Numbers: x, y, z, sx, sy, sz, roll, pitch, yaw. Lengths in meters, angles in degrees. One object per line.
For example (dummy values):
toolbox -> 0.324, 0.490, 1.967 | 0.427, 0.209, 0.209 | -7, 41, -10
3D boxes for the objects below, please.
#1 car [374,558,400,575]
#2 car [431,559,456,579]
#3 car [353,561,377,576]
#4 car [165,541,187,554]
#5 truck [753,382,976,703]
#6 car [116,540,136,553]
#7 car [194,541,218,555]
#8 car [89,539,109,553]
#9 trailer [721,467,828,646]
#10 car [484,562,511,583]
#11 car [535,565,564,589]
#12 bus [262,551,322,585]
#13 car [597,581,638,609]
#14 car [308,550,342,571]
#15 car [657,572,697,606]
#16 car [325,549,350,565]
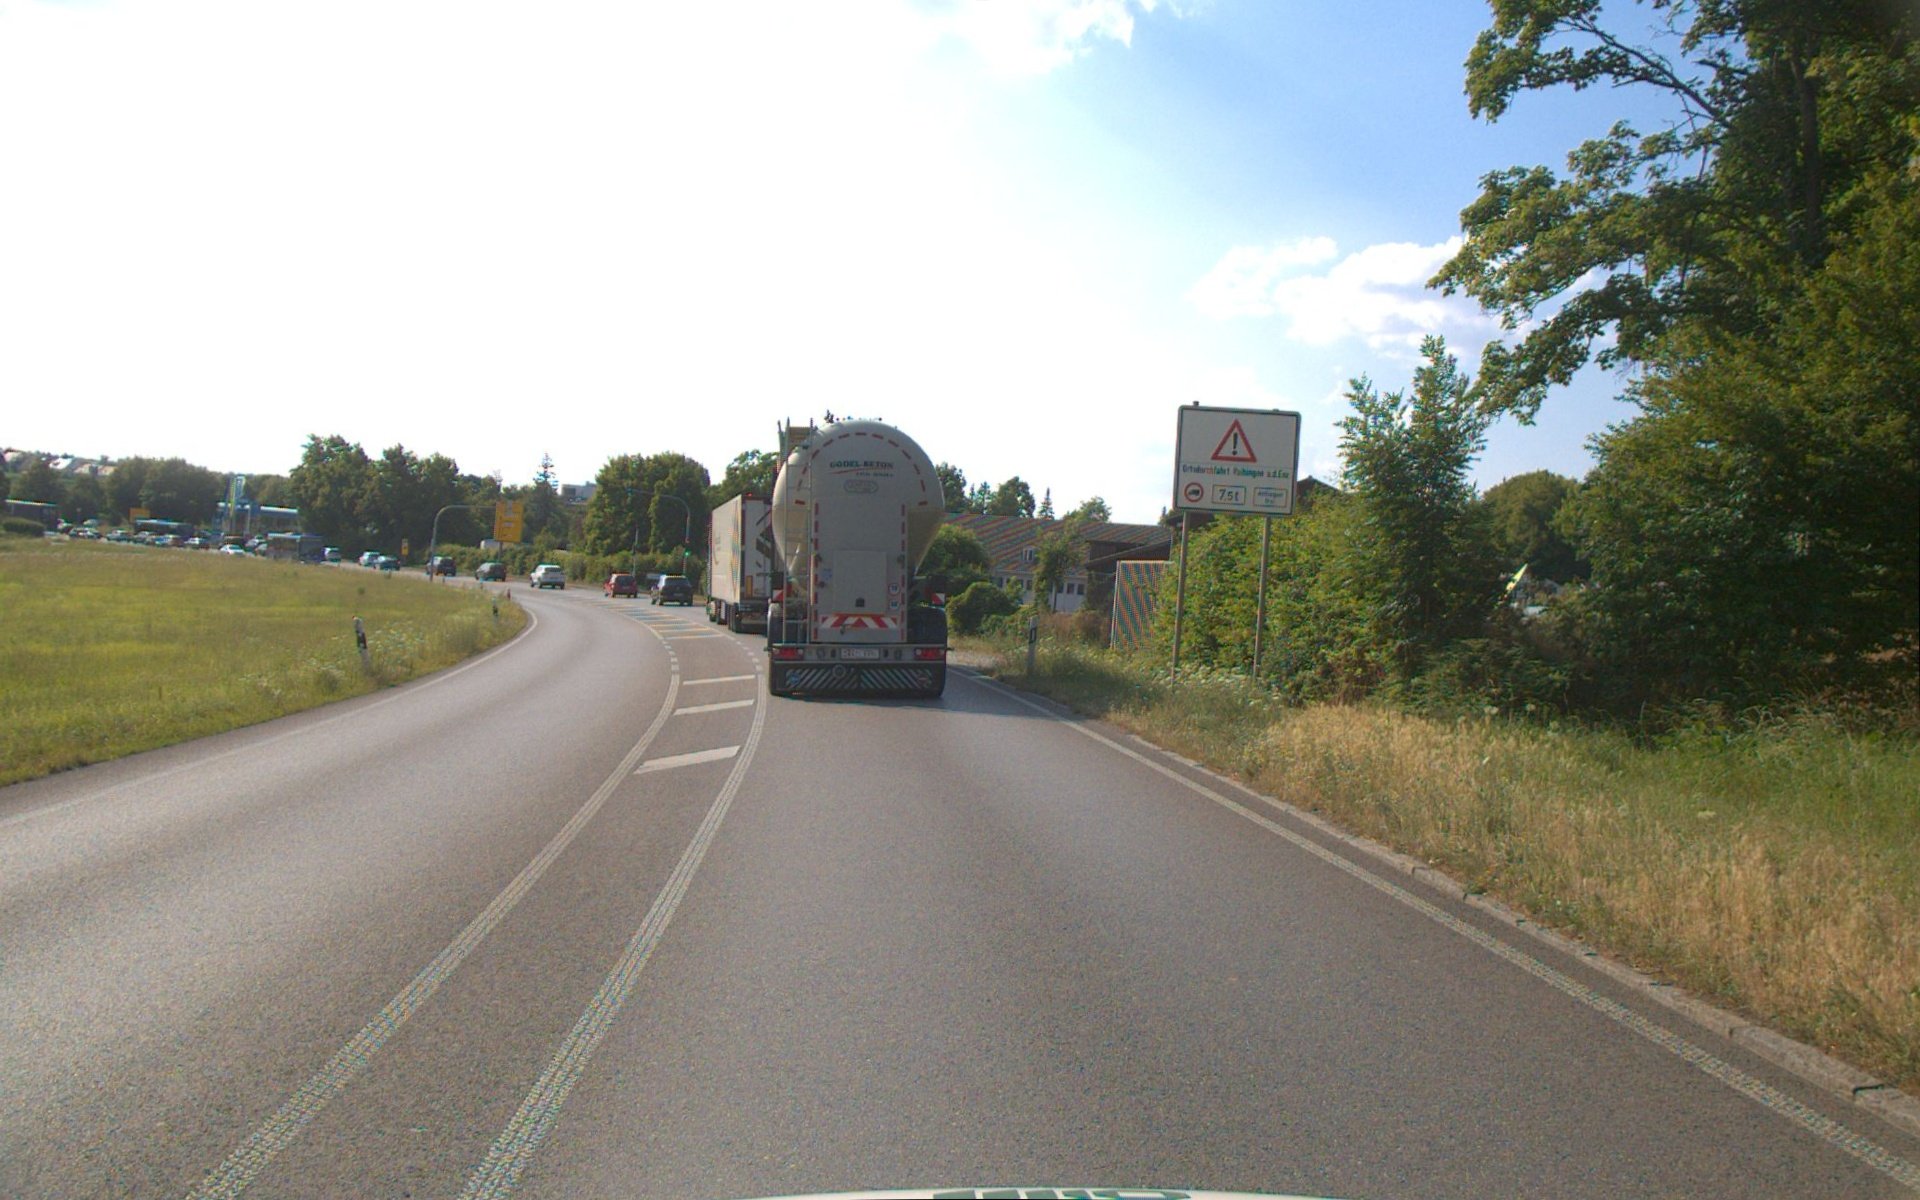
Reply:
car -> -57.043, -3.285, 164.661 | 1.662, 1.586, 3.831 | 2, 0, -32
car -> -47.219, -2.812, 151.191 | 1.501, 1.685, 3.838 | 2, 0, -27
car -> -63.071, -3.324, 175.257 | 1.662, 1.586, 3.831 | 2, 0, -32
car -> -101.225, -6.778, 213.560 | 1.867, 1.627, 3.949 | 2, 1, -36
truck -> -1.905, -0.743, 28.127 | 2.919, 4.248, 11.646 | 1, 0, -6
car -> -112.906, -7.247, 223.896 | 1.867, 1.627, 3.949 | 2, 1, -36
car -> -95.722, -6.611, 209.956 | 2.069, 1.627, 3.949 | 2, 1, -36
car -> -111.998, -7.001, 215.024 | 1.825, 1.685, 3.952 | 2, 0, -34
trailer -> -5.667, -1.210, 51.840 | 2.906, 4.967, 10.277 | 1, 0, -5
car -> -39.037, -2.288, 139.596 | 1.501, 1.685, 3.838 | 2, 0, -27
car -> -30.409, -1.667, 122.574 | 1.812, 1.685, 3.980 | 1, 0, -17
bus -> -66.697, -3.164, 164.942 | 2.772, 3.237, 11.972 | 2, 0, -36
car -> -21.554, -0.304, 104.014 | 2.261, 1.685, 4.398 | 1, 0, -15
car -> -55.297, -3.420, 143.986 | 1.825, 1.685, 3.952 | 2, 0, -34
car -> -14.919, -0.558, 87.074 | 1.958, 1.685, 3.990 | 1, 0, -10
car -> -70.954, -4.875, 188.383 | 1.956, 1.685, 3.831 | 2, 0, -32
